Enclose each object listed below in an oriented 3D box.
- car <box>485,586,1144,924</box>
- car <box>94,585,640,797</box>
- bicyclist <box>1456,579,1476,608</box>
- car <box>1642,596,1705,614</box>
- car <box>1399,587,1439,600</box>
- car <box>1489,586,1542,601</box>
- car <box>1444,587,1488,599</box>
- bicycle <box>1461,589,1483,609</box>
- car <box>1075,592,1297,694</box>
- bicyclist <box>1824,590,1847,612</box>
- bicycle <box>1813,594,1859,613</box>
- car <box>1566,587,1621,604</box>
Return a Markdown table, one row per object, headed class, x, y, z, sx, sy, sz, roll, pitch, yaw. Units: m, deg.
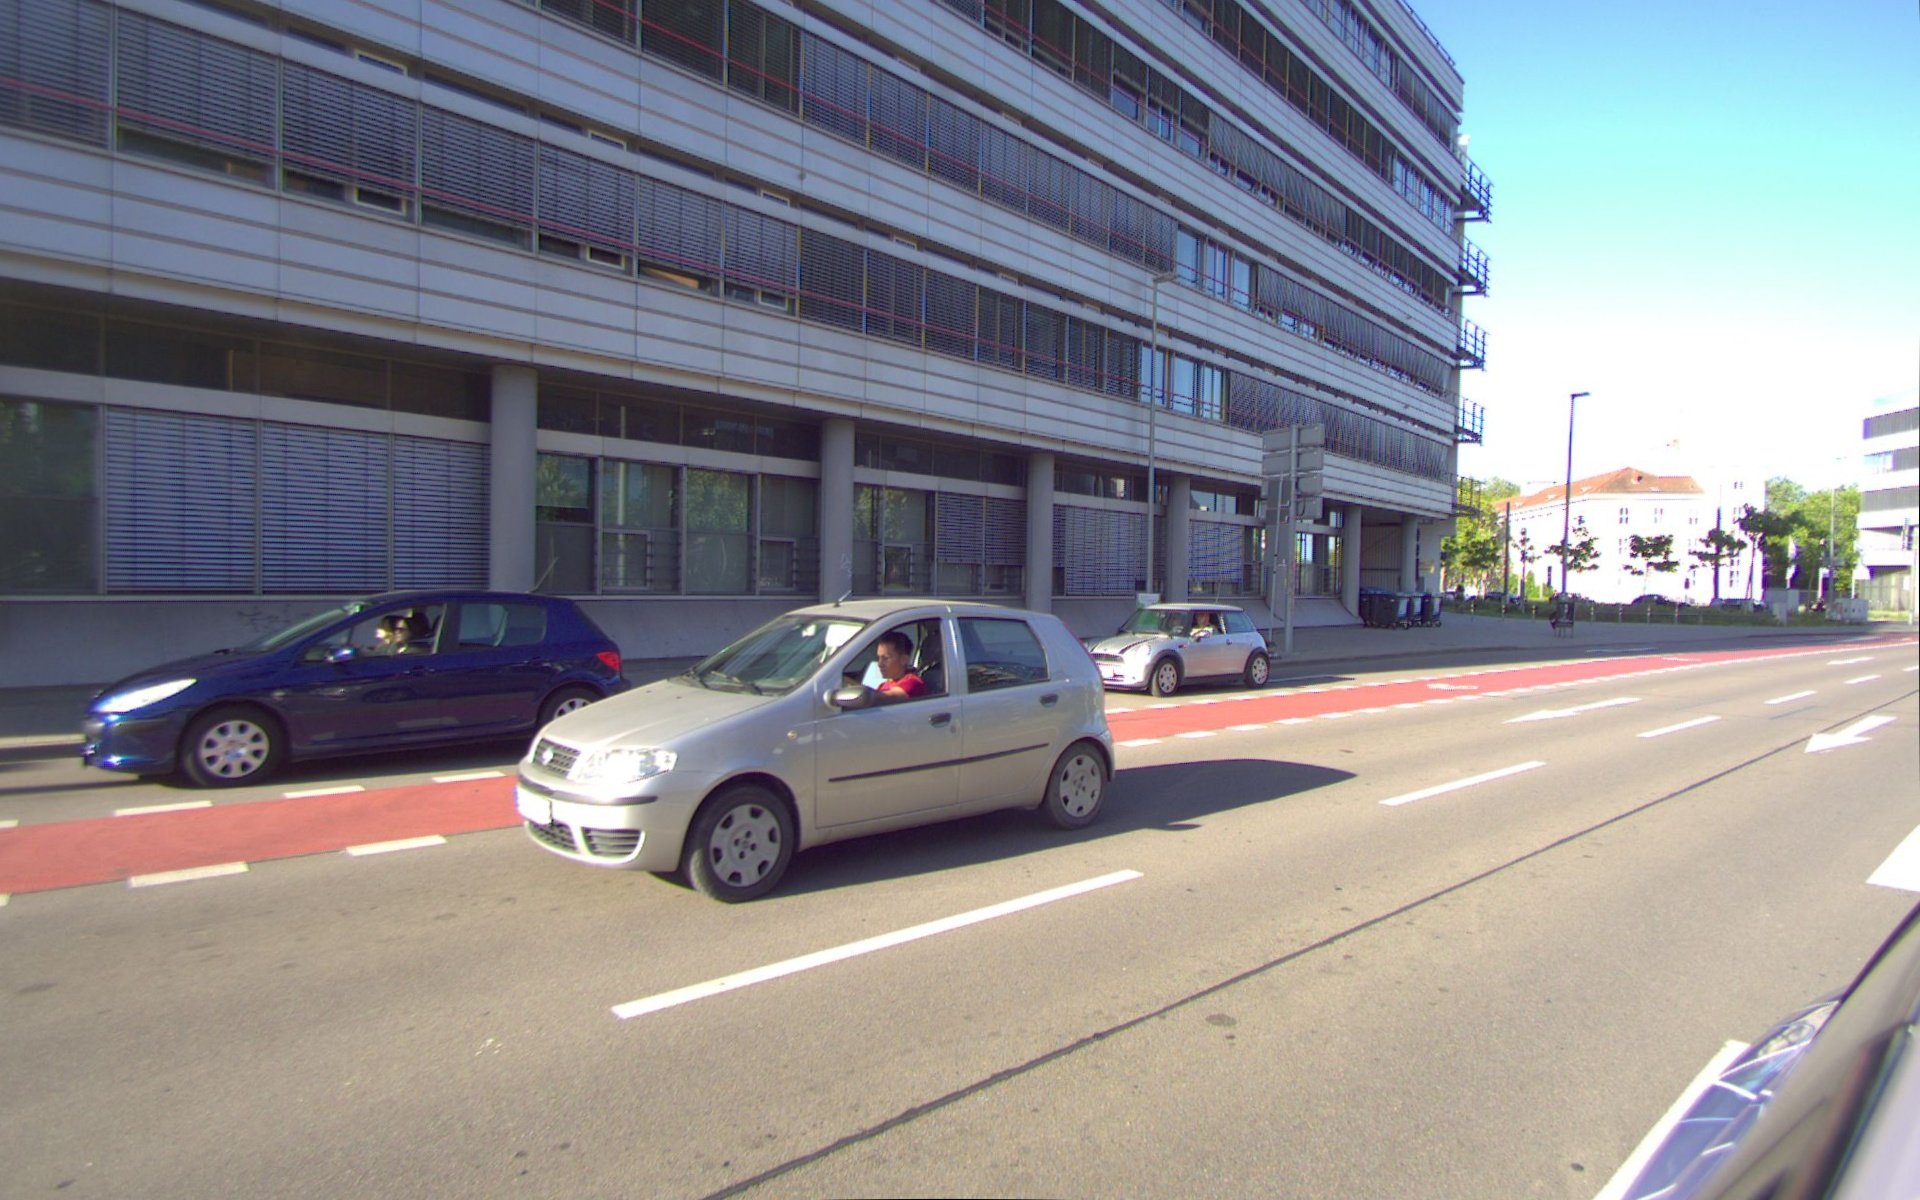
| class | x | y | z | sx | sy | sz | roll | pitch | yaw |
| --- | --- | --- | --- | --- | --- | --- | --- | --- | --- |
| car | -0.698 | 0.642 | 6.160 | 3.701 | 1.447 | 1.619 | 0 | 1 | -40 |
| car | -5.083 | 0.607 | 8.981 | 3.930 | 1.464 | 1.734 | -1 | 1 | -41 |
| bicyclist | 29.444 | -0.376 | 58.909 | 0.973 | 1.638 | 0.685 | 0 | 1 | -39 |
| car | 61.934 | 0.429 | 87.907 | 1.958 | 1.439 | 4.009 | 0 | 1 | -21 |
| car | 52.099 | -0.722 | 114.946 | 1.894 | 1.393 | 4.009 | 0 | 1 | -17 |
| car | 56.447 | -0.654 | 102.915 | 1.958 | 1.439 | 4.536 | 0 | 1 | -22 |
| car | 54.252 | -0.766 | 108.592 | 1.958 | 1.259 | 4.009 | 0 | 1 | -19 |
| bicycle | 29.748 | -0.077 | 58.776 | 1.672 | 1.070 | 0.505 | -1 | 4 | -40 |
| car | 3.775 | 0.611 | 16.578 | 3.928 | 1.463 | 1.439 | 0 | 2 | -39 |
| bicyclist | 64.899 | 0.057 | 75.025 | 0.862 | 1.627 | 1.009 | 0 | 1 | -27 |
| bicycle | 64.891 | 0.218 | 75.006 | 0.932 | 1.328 | 2.376 | 0 | 1 | -27 |
| car | 59.320 | -0.453 | 94.873 | 1.958 | 1.439 | 4.009 | 0 | 1 | -21 |
